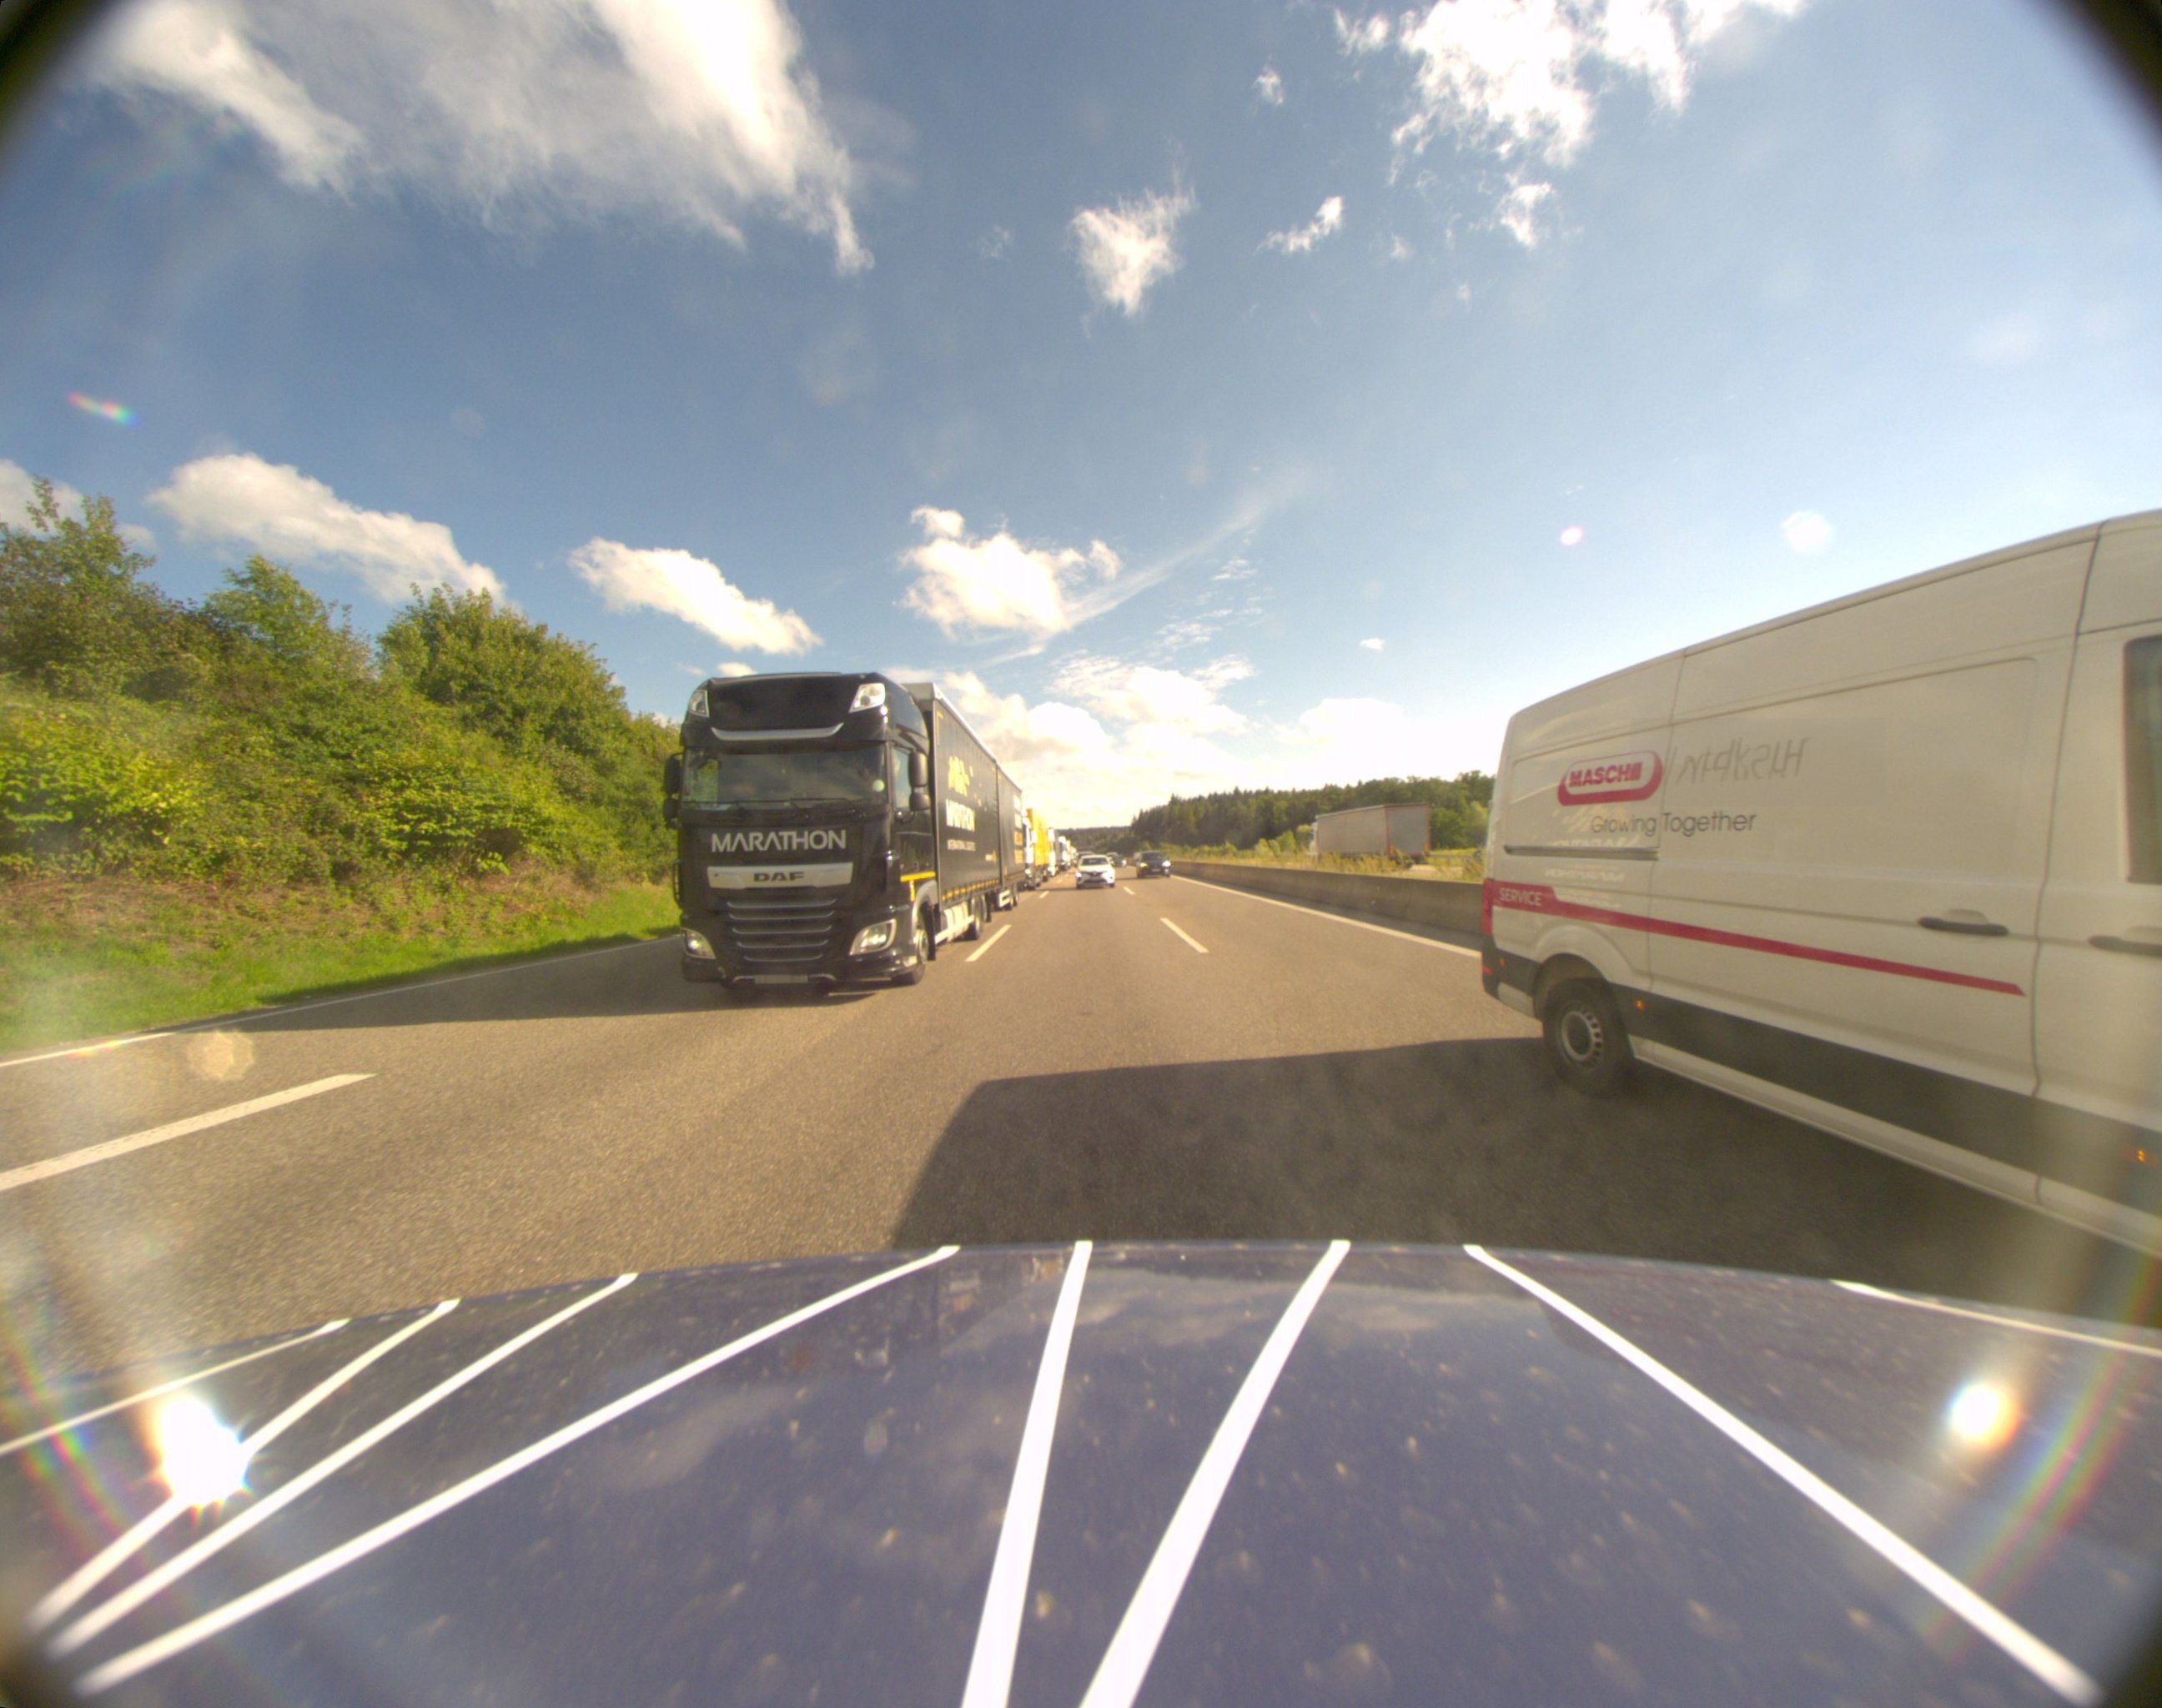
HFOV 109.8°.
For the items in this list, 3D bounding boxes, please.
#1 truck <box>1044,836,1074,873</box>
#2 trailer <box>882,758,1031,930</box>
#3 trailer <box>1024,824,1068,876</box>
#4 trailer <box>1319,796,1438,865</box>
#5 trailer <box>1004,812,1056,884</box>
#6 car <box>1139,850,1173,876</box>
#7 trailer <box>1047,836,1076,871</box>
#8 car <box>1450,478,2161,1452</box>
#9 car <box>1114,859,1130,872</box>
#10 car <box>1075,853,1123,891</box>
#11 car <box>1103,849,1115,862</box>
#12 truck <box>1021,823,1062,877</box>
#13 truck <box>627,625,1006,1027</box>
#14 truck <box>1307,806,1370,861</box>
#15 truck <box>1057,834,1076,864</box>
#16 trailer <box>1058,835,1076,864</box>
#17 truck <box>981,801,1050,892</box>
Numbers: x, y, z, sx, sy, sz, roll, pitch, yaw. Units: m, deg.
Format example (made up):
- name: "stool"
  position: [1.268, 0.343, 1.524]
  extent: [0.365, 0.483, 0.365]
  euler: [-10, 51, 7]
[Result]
- name: "truck"
  position: [-2.453, 0.072, 86.887]
  extent: [2.655, 3.902, 6.943]
  euler: [-4, 0, 2]
- name: "trailer"
  position: [-3.260, -0.223, 22.472]
  extent: [2.723, 3.937, 8.711]
  euler: [-4, 0, 0]
- name: "trailer"
  position: [-3.009, -0.406, 69.732]
  extent: [2.648, 4.074, 13.980]
  euler: [-4, 0, 2]
- name: "trailer"
  position: [19.638, -1.437, 51.513]
  extent: [2.839, 3.969, 13.548]
  euler: [-2, 0, 1]
- name: "trailer"
  position: [-3.141, -0.358, 49.108]
  extent: [2.418, 4.045, 8.926]
  euler: [-4, 0, 0]
- name: "car"
  position: [4.608, 0.518, 47.039]
  extent: [1.779, 1.533, 4.158]
  euler: [0, 1, 1]
- name: "trailer"
  position: [-2.249, -0.133, 93.762]
  extent: [2.652, 3.911, 11.175]
  euler: [-4, 0, 2]
- name: "car"
  position: [3.873, 0.294, 2.782]
  extent: [2.020, 2.583, 6.182]
  euler: [-1, 0, 0]
- name: "car"
  position: [4.923, 1.359, 92.408]
  extent: [1.779, 1.451, 4.158]
  euler: [0, 1, 1]
- name: "car"
  position: [0.883, 0.786, 36.038]
  extent: [2.026, 1.510, 5.299]
  euler: [-4, 0, 2]
- name: "car"
  position: [4.377, 0.261, 120.375]
  extent: [1.779, 1.923, 4.214]
  euler: [0, 0, 1]
- name: "truck"
  position: [-3.223, -0.345, 63.738]
  extent: [2.654, 4.066, 6.491]
  euler: [-4, 1, 2]
- name: "truck"
  position: [-3.248, -0.320, 13.035]
  extent: [2.748, 4.015, 10.201]
  euler: [-4, 0, 0]
- name: "truck"
  position: [19.707, -1.504, 58.512]
  extent: [2.826, 3.953, 5.832]
  euler: [-2, 1, 1]
- name: "truck"
  position: [-1.973, -0.631, 107.559]
  extent: [2.371, 3.996, 6.106]
  euler: [-3, -1, 0]
- name: "trailer"
  position: [-2.007, -0.515, 115.066]
  extent: [2.334, 3.973, 14.300]
  euler: [-3, -1, 0]
- name: "truck"
  position: [-3.205, -0.333, 39.812]
  extent: [2.418, 4.045, 9.664]
  euler: [-4, 0, 0]
